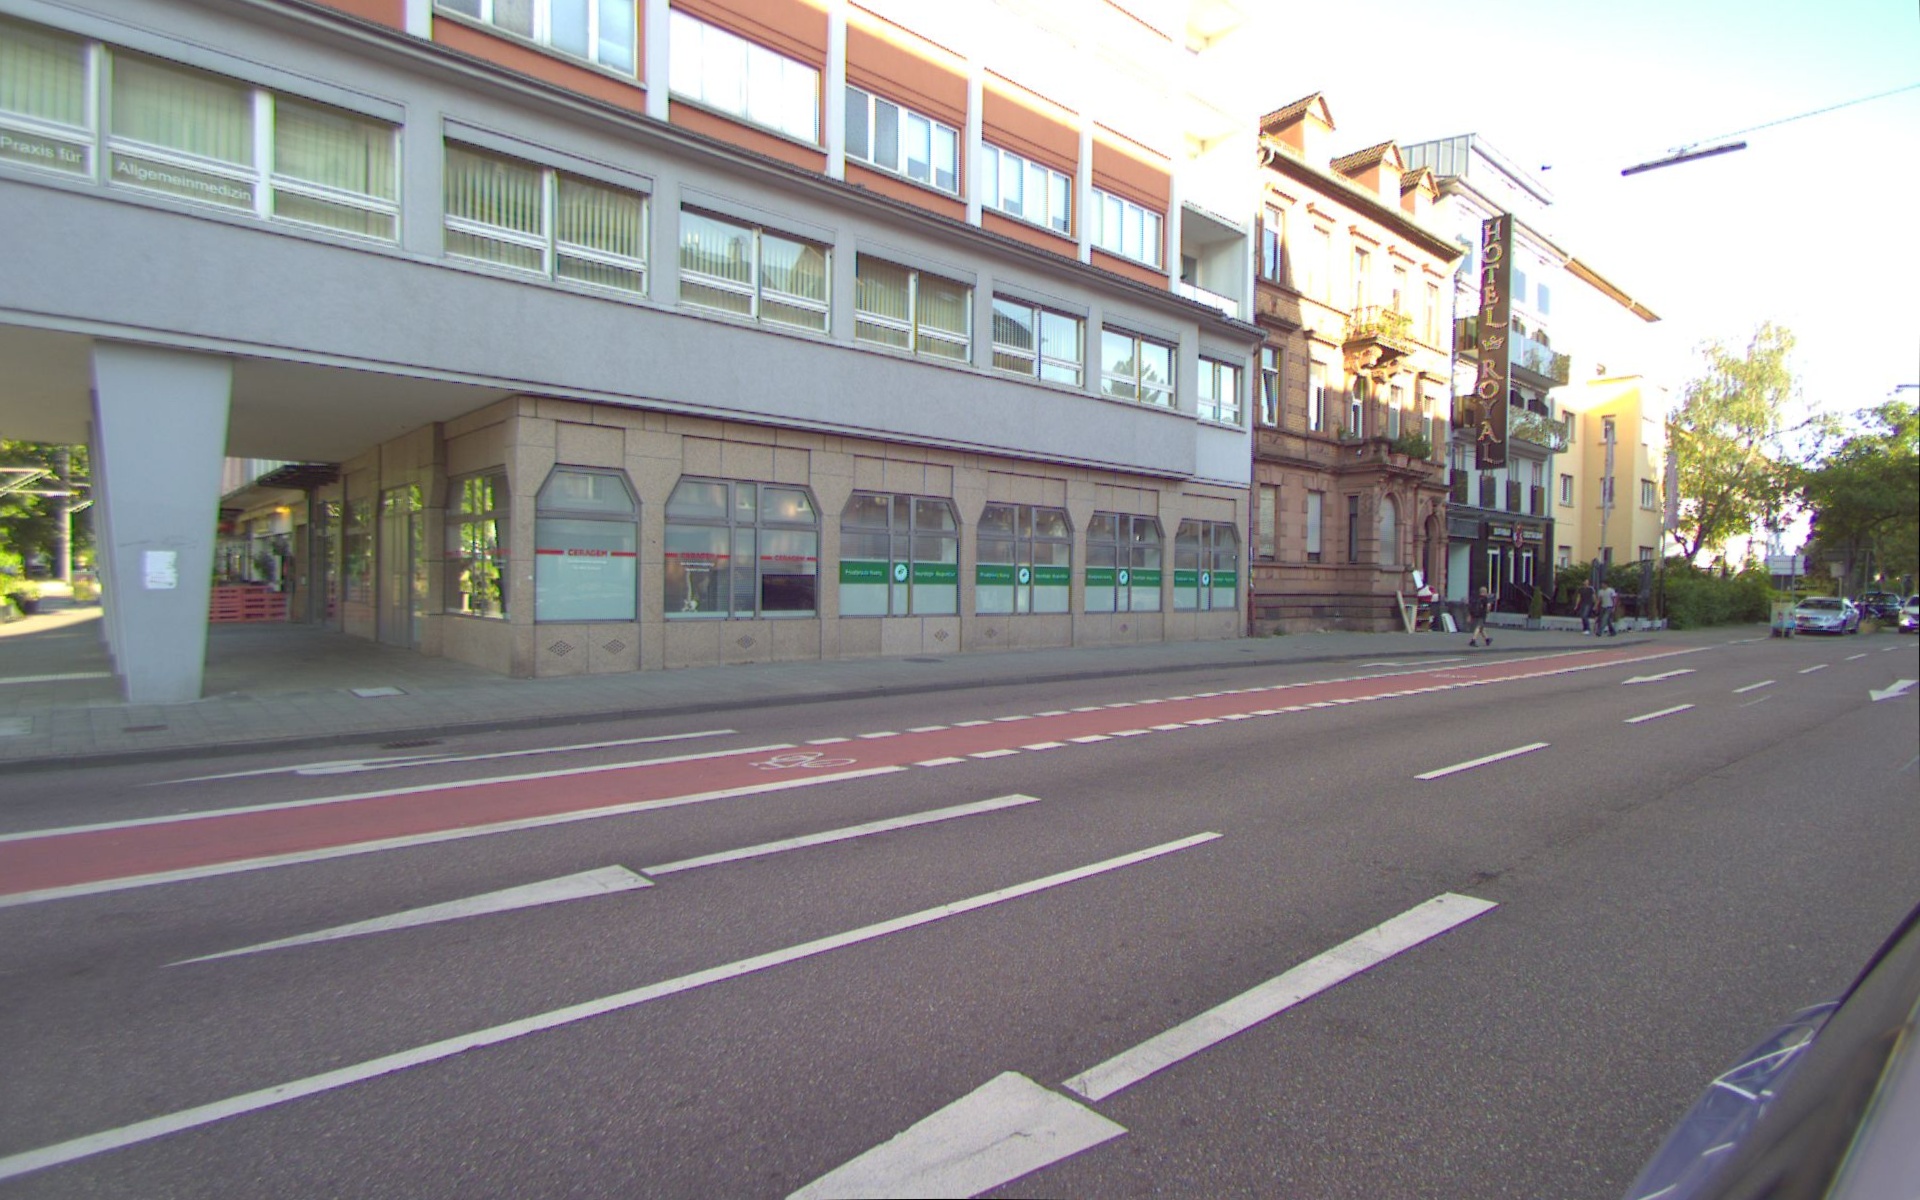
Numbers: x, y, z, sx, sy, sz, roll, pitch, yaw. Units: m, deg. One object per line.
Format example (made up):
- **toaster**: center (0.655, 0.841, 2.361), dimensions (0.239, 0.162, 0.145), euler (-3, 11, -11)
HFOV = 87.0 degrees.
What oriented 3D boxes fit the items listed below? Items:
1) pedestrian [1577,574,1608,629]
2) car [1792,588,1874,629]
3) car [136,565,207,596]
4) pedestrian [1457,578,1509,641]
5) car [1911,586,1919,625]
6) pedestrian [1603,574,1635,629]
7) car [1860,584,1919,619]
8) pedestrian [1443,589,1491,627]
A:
- **pedestrian**: center (20.671, 0.036, 33.063), dimensions (0.666, 1.747, 0.995), euler (2, 1, 43)
- **car**: center (34.953, 0.302, 40.492), dimensions (4.003, 1.536, 1.904), euler (0, 1, -41)
- **car**: center (-42.379, -1.047, 54.481), dimensions (1.923, 1.575, 3.882), euler (0, 1, -20)
- **pedestrian**: center (14.071, 0.240, 27.209), dimensions (0.991, 1.621, 0.740), euler (1, 3, -30)
- **car**: center (41.476, 0.209, 42.458), dimensions (4.195, 1.627, 1.920), euler (-1, 0, -41)
- **pedestrian**: center (21.141, 0.040, 32.459), dimensions (0.666, 1.747, 0.995), euler (2, 1, 44)
- **car**: center (46.668, 0.040, 50.678), dimensions (4.121, 1.645, 1.945), euler (0, 1, -42)
- **pedestrian**: center (16.047, 0.230, 32.045), dimensions (0.909, 1.150, 1.098), euler (0, 1, -43)
